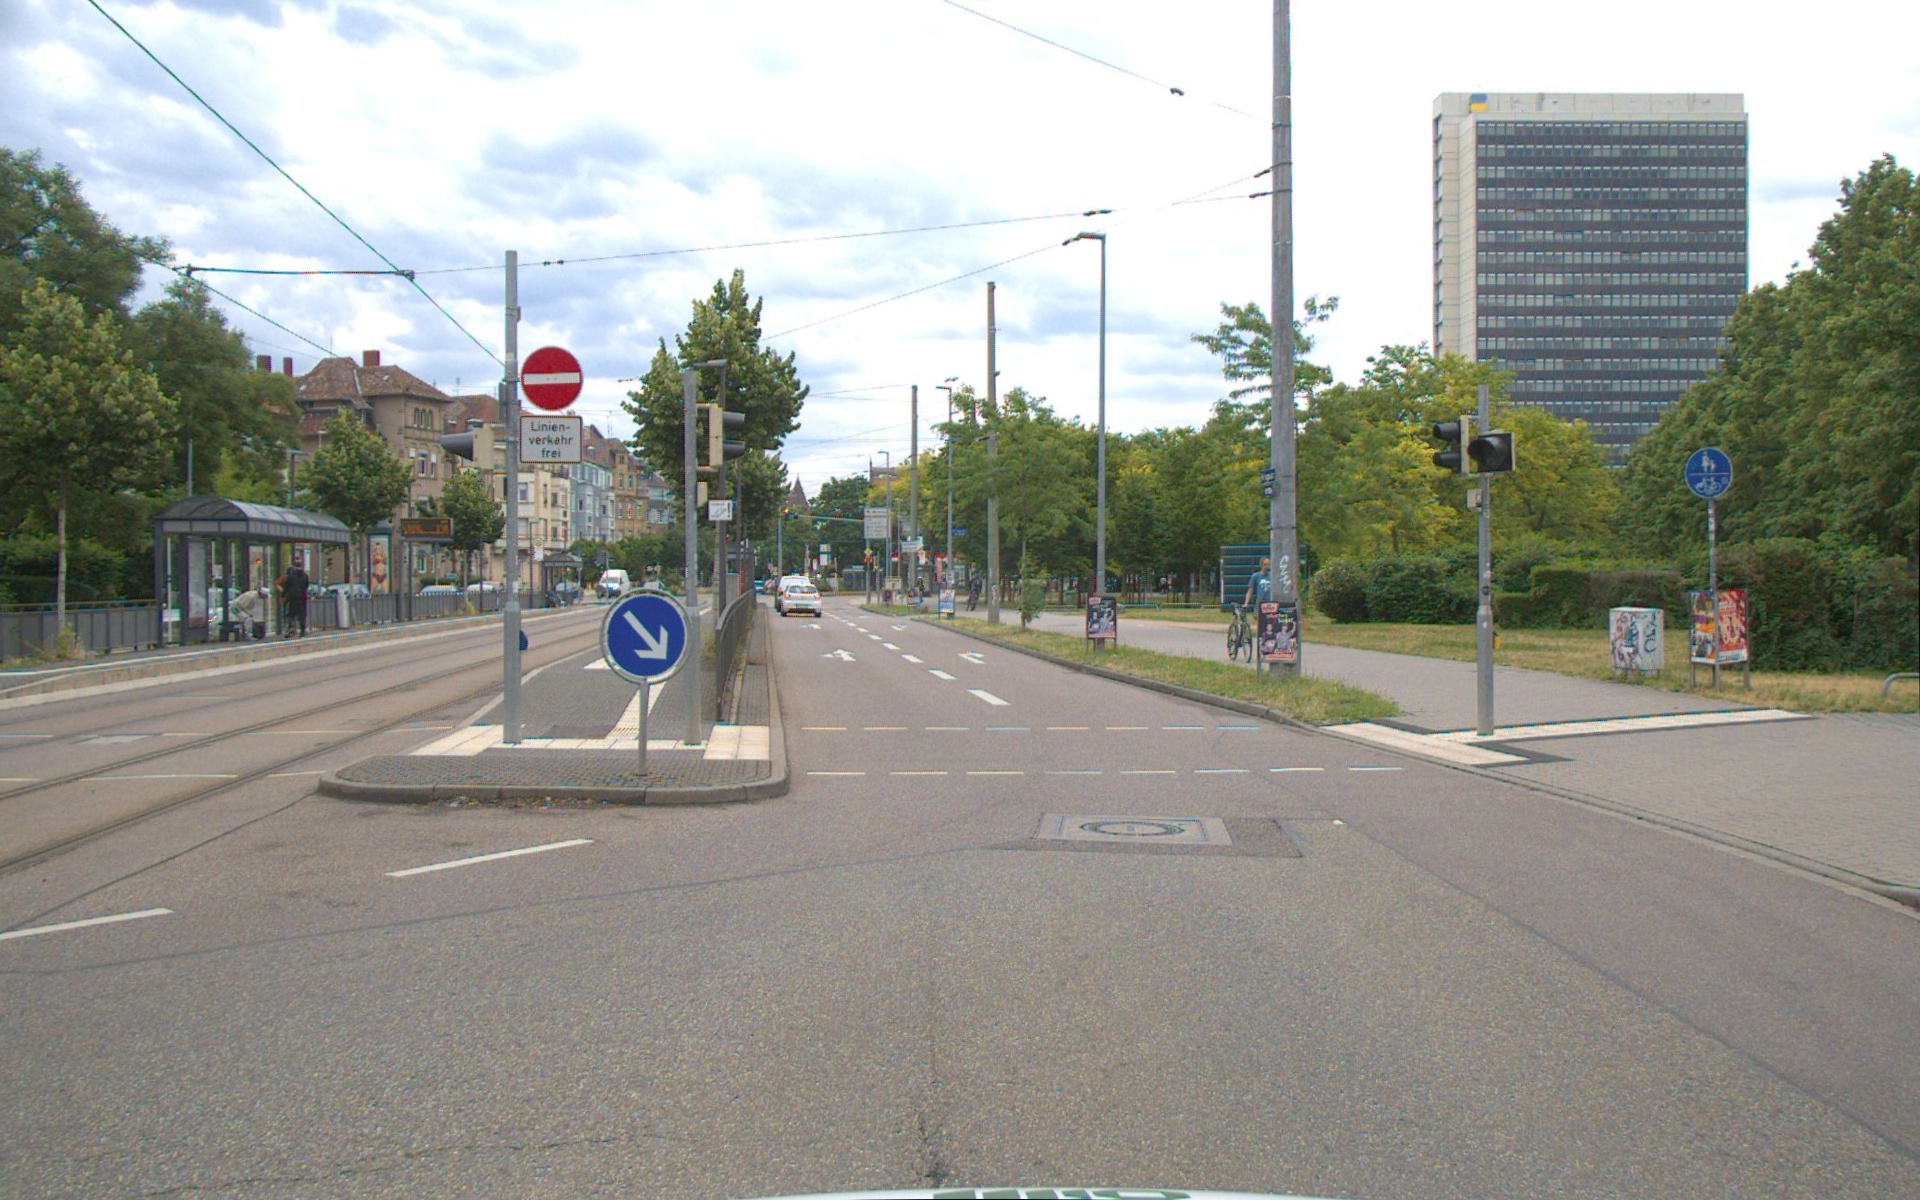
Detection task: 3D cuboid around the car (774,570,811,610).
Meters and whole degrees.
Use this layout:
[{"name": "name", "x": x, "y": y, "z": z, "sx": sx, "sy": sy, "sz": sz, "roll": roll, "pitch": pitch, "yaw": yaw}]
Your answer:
[{"name": "car", "x": -8.631, "y": -0.546, "z": 85.013, "sx": 1.749, "sy": 1.997, "sz": 4.375, "roll": 0, "pitch": 1, "yaw": -7}]

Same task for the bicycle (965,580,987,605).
[{"name": "bicycle", "x": 0.765, "y": -0.379, "z": 79.289, "sx": 0.667, "sy": 1.175, "sz": 1.893, "roll": -1, "pitch": 1, "yaw": -11}]

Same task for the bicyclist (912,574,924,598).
[{"name": "bicyclist", "x": -2.426, "y": -0.819, "z": 95.484, "sx": 0.665, "sy": 1.403, "sz": 0.727, "roll": -1, "pitch": 1, "yaw": -2}]

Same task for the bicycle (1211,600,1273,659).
[{"name": "bicycle", "x": 5.176, "y": 0.520, "z": 30.430, "sx": 0.642, "sy": 1.020, "sz": 1.777, "roll": -1, "pitch": 1, "yaw": -7}]

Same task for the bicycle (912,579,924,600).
[{"name": "bicycle", "x": -2.409, "y": -0.593, "z": 95.480, "sx": 0.665, "sy": 1.175, "sz": 1.897, "roll": -1, "pitch": 1, "yaw": -2}]

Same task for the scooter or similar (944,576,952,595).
[{"name": "scooter or similar", "x": -0.752, "y": -0.890, "z": 102.428, "sx": 0.368, "sy": 1.161, "sz": 1.200, "roll": -1, "pitch": 1, "yaw": 4}]

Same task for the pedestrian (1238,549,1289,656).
[{"name": "pedestrian", "x": 5.527, "y": 0.041, "z": 30.120, "sx": 0.725, "sy": 1.902, "sz": 0.681, "roll": -1, "pitch": 1, "yaw": -8}]

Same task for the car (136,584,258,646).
[{"name": "car", "x": -19.592, "y": 0.354, "z": 42.631, "sx": 1.736, "sy": 1.519, "sz": 3.881, "roll": 0, "pitch": 0, "yaw": -7}]

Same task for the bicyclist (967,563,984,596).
[{"name": "bicyclist", "x": 0.739, "y": -0.977, "z": 79.353, "sx": 0.667, "sy": 1.564, "sz": 0.671, "roll": -1, "pitch": 1, "yaw": -12}]

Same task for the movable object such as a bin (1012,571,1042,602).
[{"name": "movable object such as a bin", "x": 3.089, "y": -0.634, "z": 76.523, "sx": 1.257, "sy": 1.414, "sz": 1.157, "roll": 0, "pitch": 0, "yaw": -6}]

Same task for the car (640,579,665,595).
[{"name": "car", "x": -29.204, "y": -1.252, "z": 157.173, "sx": 1.734, "sy": 1.519, "sz": 3.886, "roll": 0, "pitch": 0, "yaw": -1}]

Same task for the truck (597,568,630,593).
[{"name": "truck", "x": -29.790, "y": -1.645, "z": 142.428, "sx": 1.751, "sy": 2.068, "sz": 5.395, "roll": 0, "pitch": 0, "yaw": -1}]

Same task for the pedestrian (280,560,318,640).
[{"name": "pedestrian", "x": -14.692, "y": -0.010, "z": 36.782, "sx": 0.688, "sy": 1.745, "sz": 0.696, "roll": -1, "pitch": 1, "yaw": -15}]

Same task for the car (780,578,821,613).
[{"name": "car", "x": -6.938, "y": -0.219, "z": 72.281, "sx": 1.748, "sy": 1.498, "sz": 4.006, "roll": 0, "pitch": 1, "yaw": -5}]

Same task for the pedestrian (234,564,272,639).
[{"name": "pedestrian", "x": -15.716, "y": 0.028, "z": 36.778, "sx": 0.621, "sy": 1.652, "sz": 0.678, "roll": -1, "pitch": 1, "yaw": -12}]

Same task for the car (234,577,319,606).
[{"name": "car", "x": -36.420, "y": -0.450, "z": 88.185, "sx": 3.800, "sy": 1.519, "sz": 1.773, "roll": 0, "pitch": 0, "yaw": -7}]

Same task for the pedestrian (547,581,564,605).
[{"name": "pedestrian", "x": -22.352, "y": -0.395, "z": 91.412, "sx": 0.849, "sy": 1.289, "sz": 0.692, "roll": -1, "pitch": 1, "yaw": -9}]

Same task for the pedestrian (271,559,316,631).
[{"name": "pedestrian", "x": -15.952, "y": -0.119, "z": 39.604, "sx": 0.754, "sy": 1.689, "sz": 1.022, "roll": -1, "pitch": 1, "yaw": -10}]
